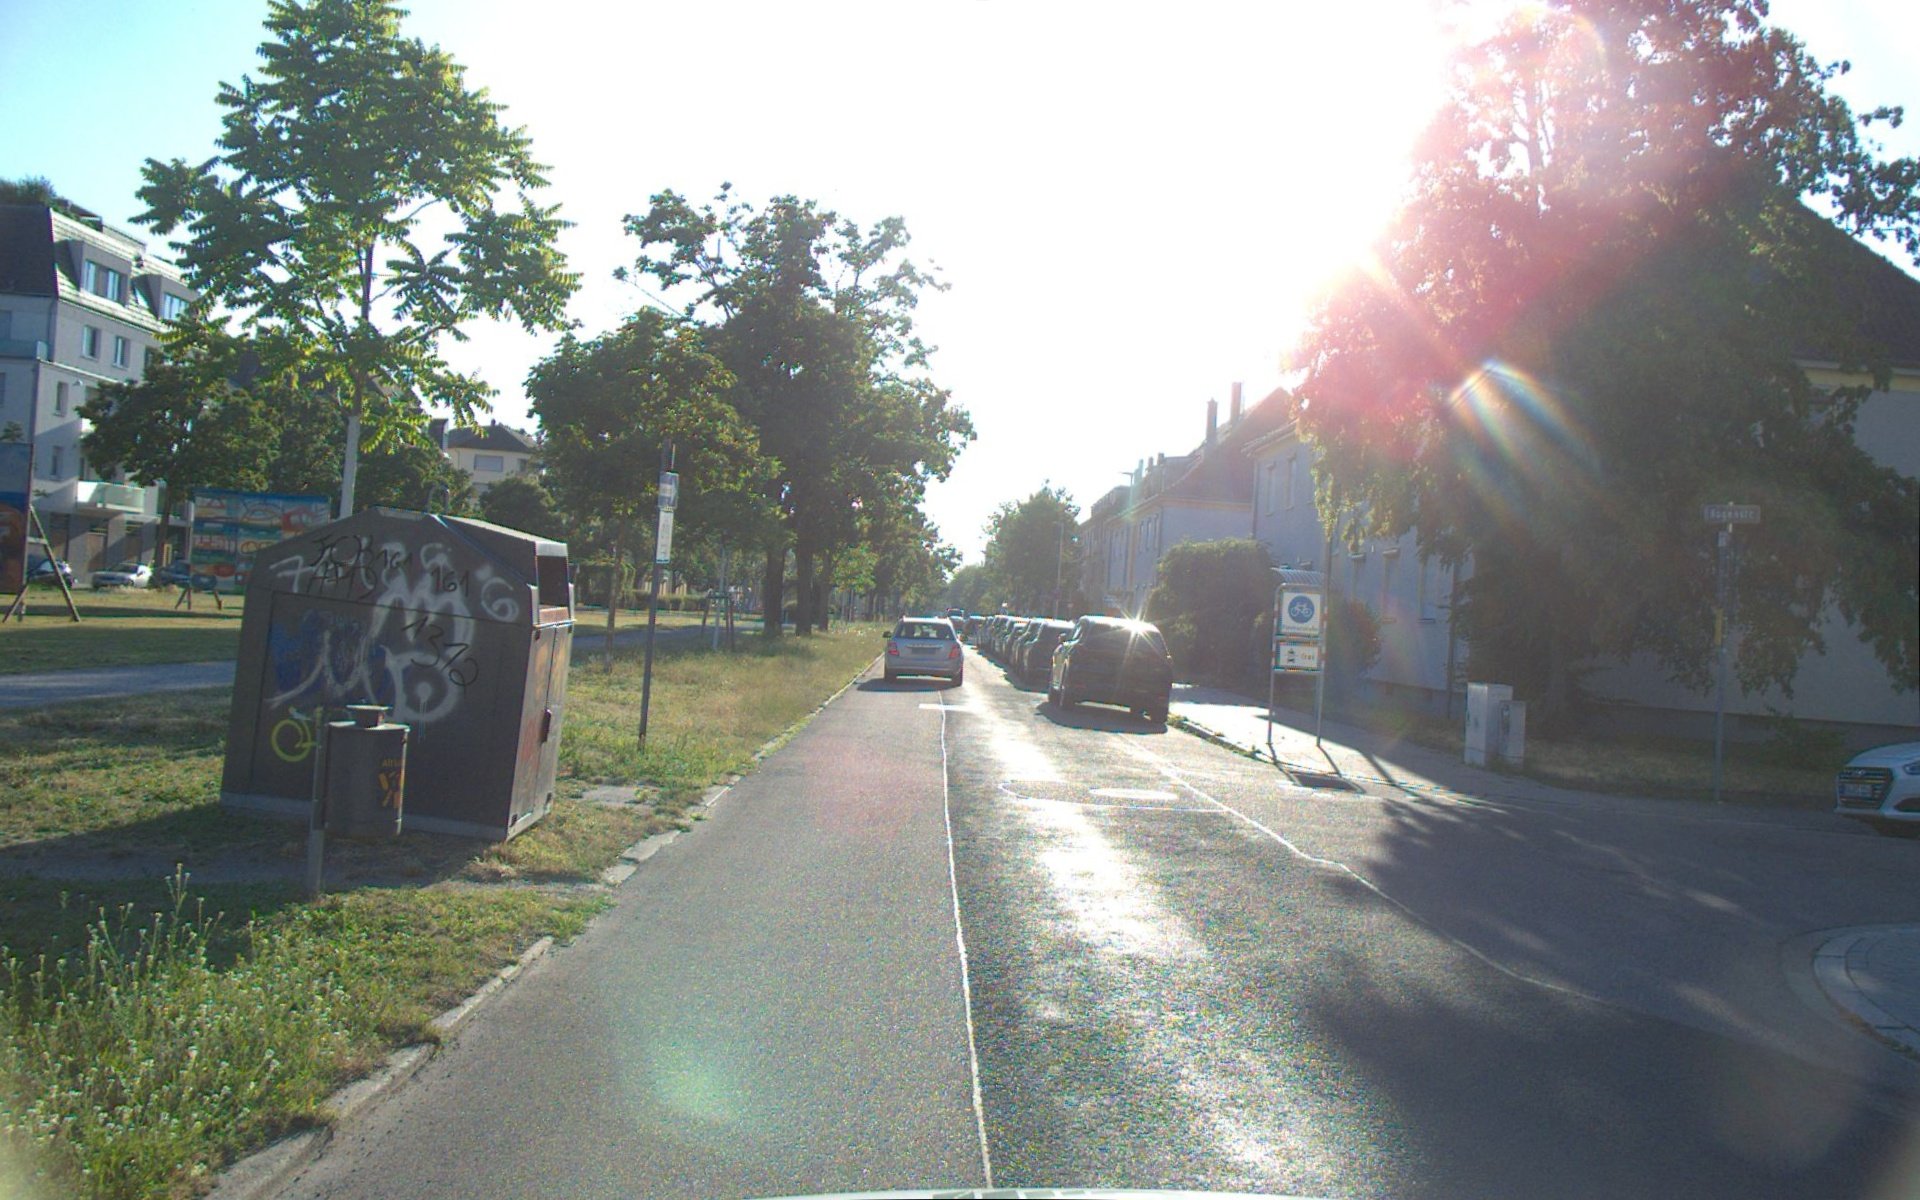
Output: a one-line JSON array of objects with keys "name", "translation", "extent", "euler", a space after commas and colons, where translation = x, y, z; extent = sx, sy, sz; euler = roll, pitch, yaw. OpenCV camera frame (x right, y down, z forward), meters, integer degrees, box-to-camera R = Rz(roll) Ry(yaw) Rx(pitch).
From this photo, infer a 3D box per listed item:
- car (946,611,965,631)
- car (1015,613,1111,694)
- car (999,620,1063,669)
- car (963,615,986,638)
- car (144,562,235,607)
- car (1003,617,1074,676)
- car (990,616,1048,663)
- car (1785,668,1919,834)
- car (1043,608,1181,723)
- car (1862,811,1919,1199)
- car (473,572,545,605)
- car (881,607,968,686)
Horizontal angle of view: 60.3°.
[{"name": "car", "translation": [-0.490, 2.361, 186.638], "extent": [1.948, 2.058, 3.999], "euler": [3, -1, 0]}, {"name": "car", "translation": [2.549, 1.307, 42.061], "extent": [1.895, 1.750, 4.620], "euler": [6, 0, -1]}, {"name": "car", "translation": [2.439, 1.520, 57.972], "extent": [1.953, 1.487, 4.561], "euler": [5, -1, 0]}, {"name": "car", "translation": [1.111, 2.085, 128.401], "extent": [1.686, 1.625, 3.999], "euler": [3, -1, 0]}, {"name": "car", "translation": [-34.080, -0.659, 73.281], "extent": [1.889, 1.860, 4.690], "euler": [0, -1, -1]}, {"name": "car", "translation": [2.482, 1.465, 53.026], "extent": [1.695, 1.574, 4.205], "euler": [8, -1, -3]}, {"name": "car", "translation": [2.230, 1.464, 63.145], "extent": [1.691, 1.588, 4.413], "euler": [4, -1, -4]}, {"name": "car", "translation": [11.034, 1.630, 16.345], "extent": [4.750, 1.512, 2.001], "euler": [4, -4, -2]}, {"name": "car", "translation": [2.689, 1.144, 30.366], "extent": [1.796, 1.761, 5.030], "euler": [6, -1, -1]}, {"name": "car", "translation": [3.251, 0.921, 1.836], "extent": [1.787, 1.587, 4.621], "euler": [9, 0, 0]}, {"name": "car", "translation": [-43.343, -1.139, 158.939], "extent": [6.232, 2.767, 1.982], "euler": [4, -1, -32]}, {"name": "car", "translation": [-0.767, 0.993, 37.163], "extent": [1.786, 1.594, 3.999], "euler": [2, 0, 0]}]
